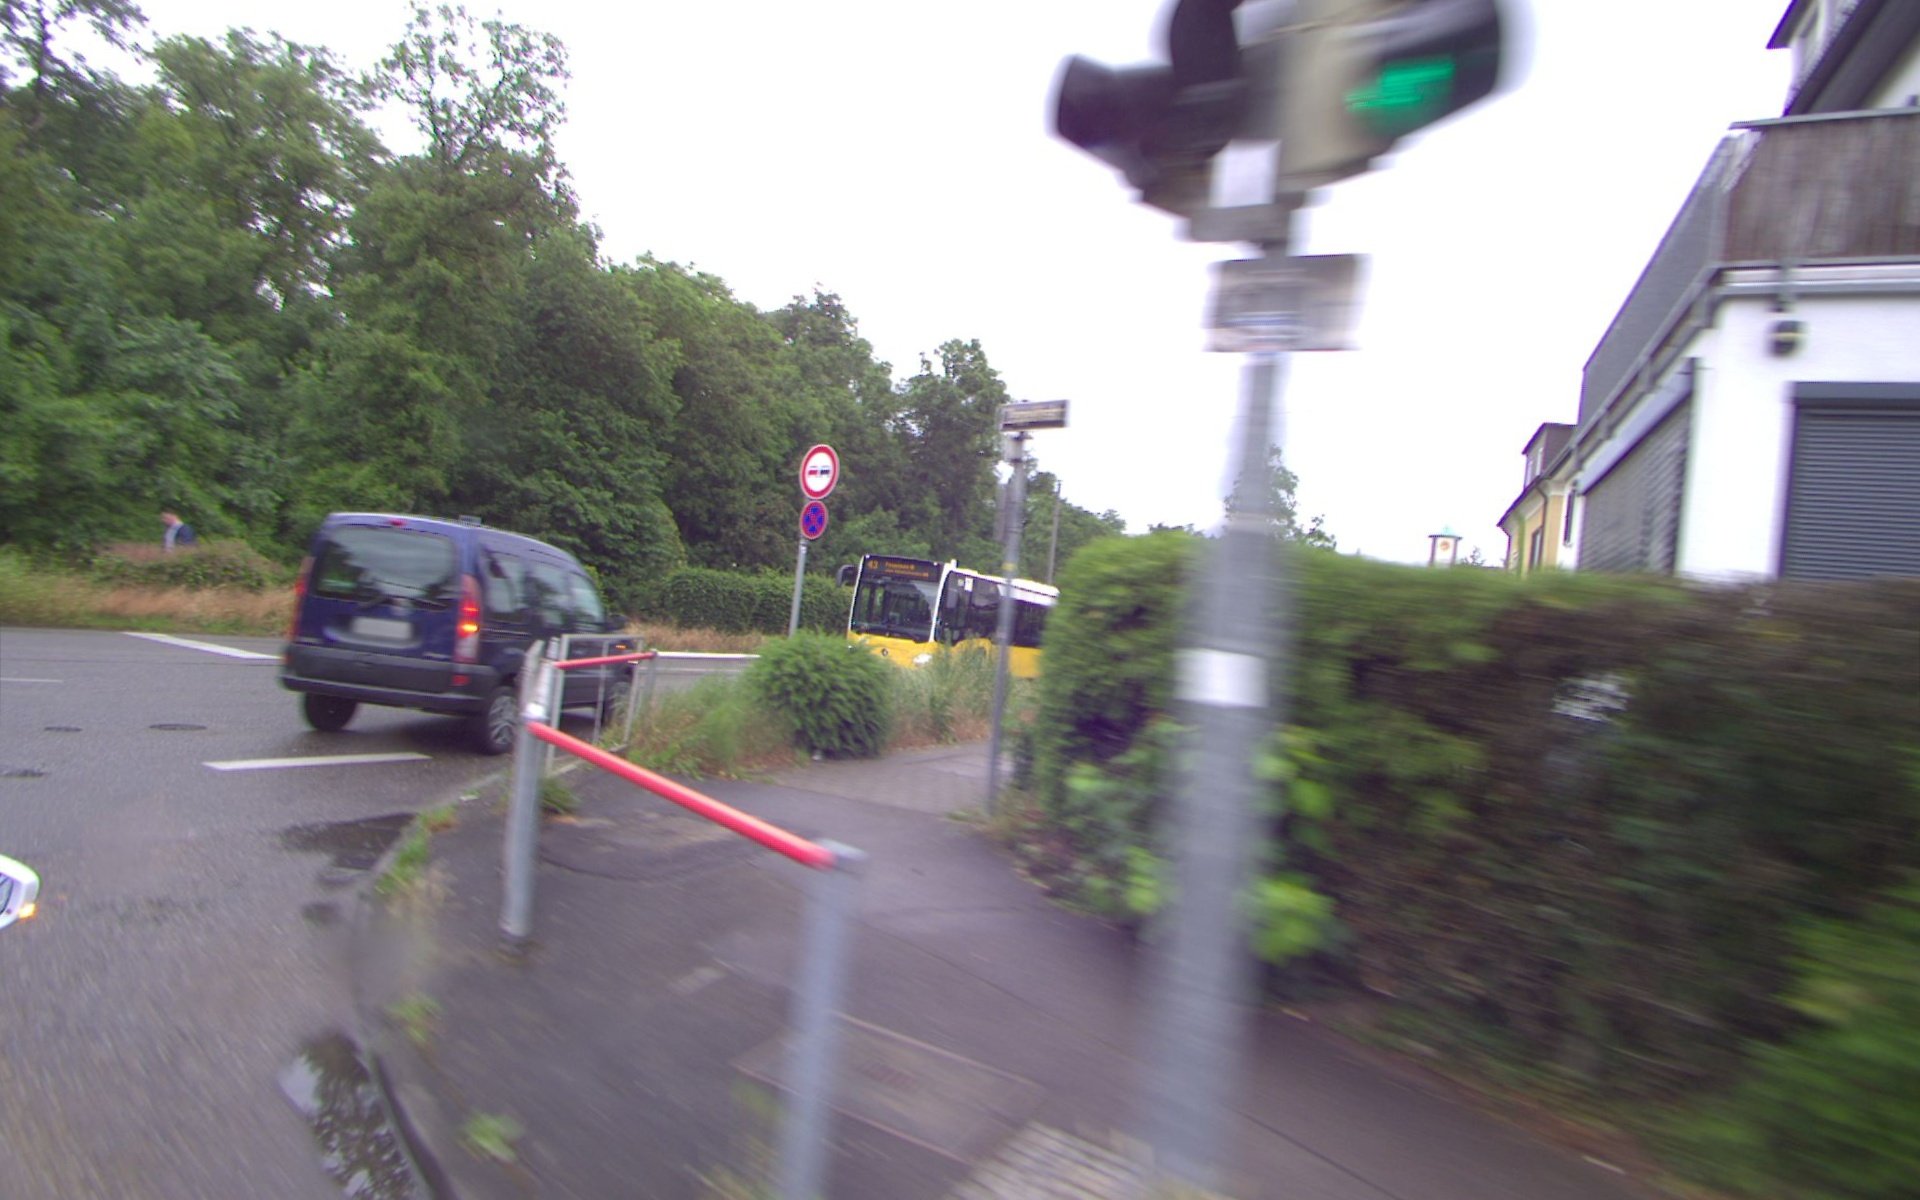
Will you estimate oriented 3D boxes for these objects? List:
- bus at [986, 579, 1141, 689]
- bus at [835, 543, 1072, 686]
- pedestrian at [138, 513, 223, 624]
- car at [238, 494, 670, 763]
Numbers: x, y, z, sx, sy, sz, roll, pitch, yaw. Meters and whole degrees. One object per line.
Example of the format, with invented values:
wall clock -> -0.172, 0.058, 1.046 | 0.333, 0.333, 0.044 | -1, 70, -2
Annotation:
bus -> 3.953, 1.383, 36.000 | 2.556, 3.195, 8.633 | 7, -1, 25
bus -> 0.256, 0.649, 27.861 | 2.604, 3.080, 9.227 | 7, -1, 25
pedestrian -> -13.674, -0.542, 17.657 | 0.765, 1.821, 0.763 | 6, -1, 28
car -> -4.367, 0.277, 9.524 | 1.780, 1.818, 4.003 | 6, -1, 2
